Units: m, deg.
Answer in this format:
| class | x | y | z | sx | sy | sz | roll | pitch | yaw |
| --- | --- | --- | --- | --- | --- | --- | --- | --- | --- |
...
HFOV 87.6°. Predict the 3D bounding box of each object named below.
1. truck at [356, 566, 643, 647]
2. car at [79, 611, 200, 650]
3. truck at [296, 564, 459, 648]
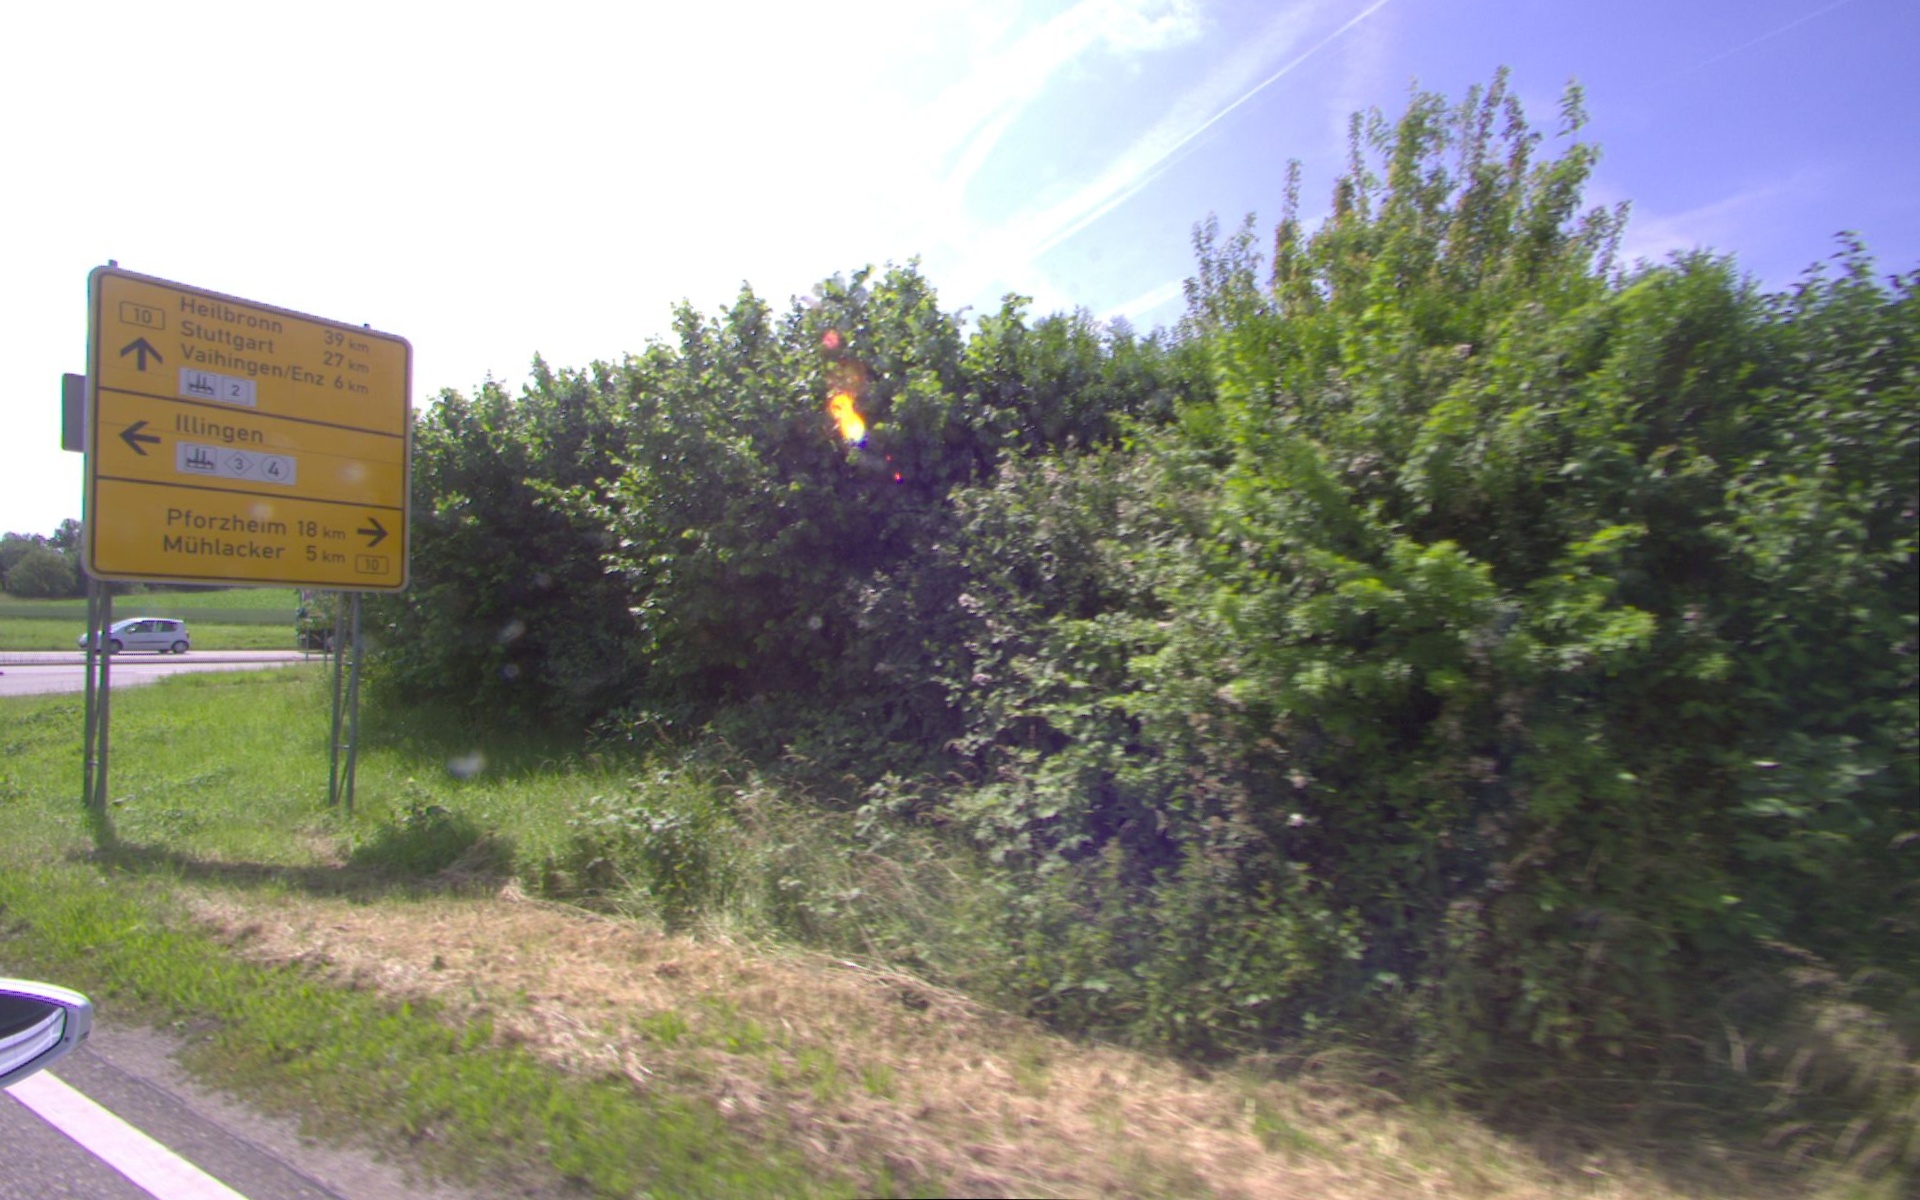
| class | x | y | z | sx | sy | sz | roll | pitch | yaw |
| --- | --- | --- | --- | --- | --- | --- | --- | --- | --- |
| truck | -25.071 | 0.540 | 55.582 | 14.167 | 4.031 | 3.003 | 2 | -1 | -39 |
| car | -36.384 | 1.349 | 44.480 | 1.735 | 1.654 | 3.822 | -1 | -2 | 30 |
| truck | -29.946 | 0.377 | 51.647 | 6.874 | 4.046 | 3.003 | 2 | -1 | -39 |
